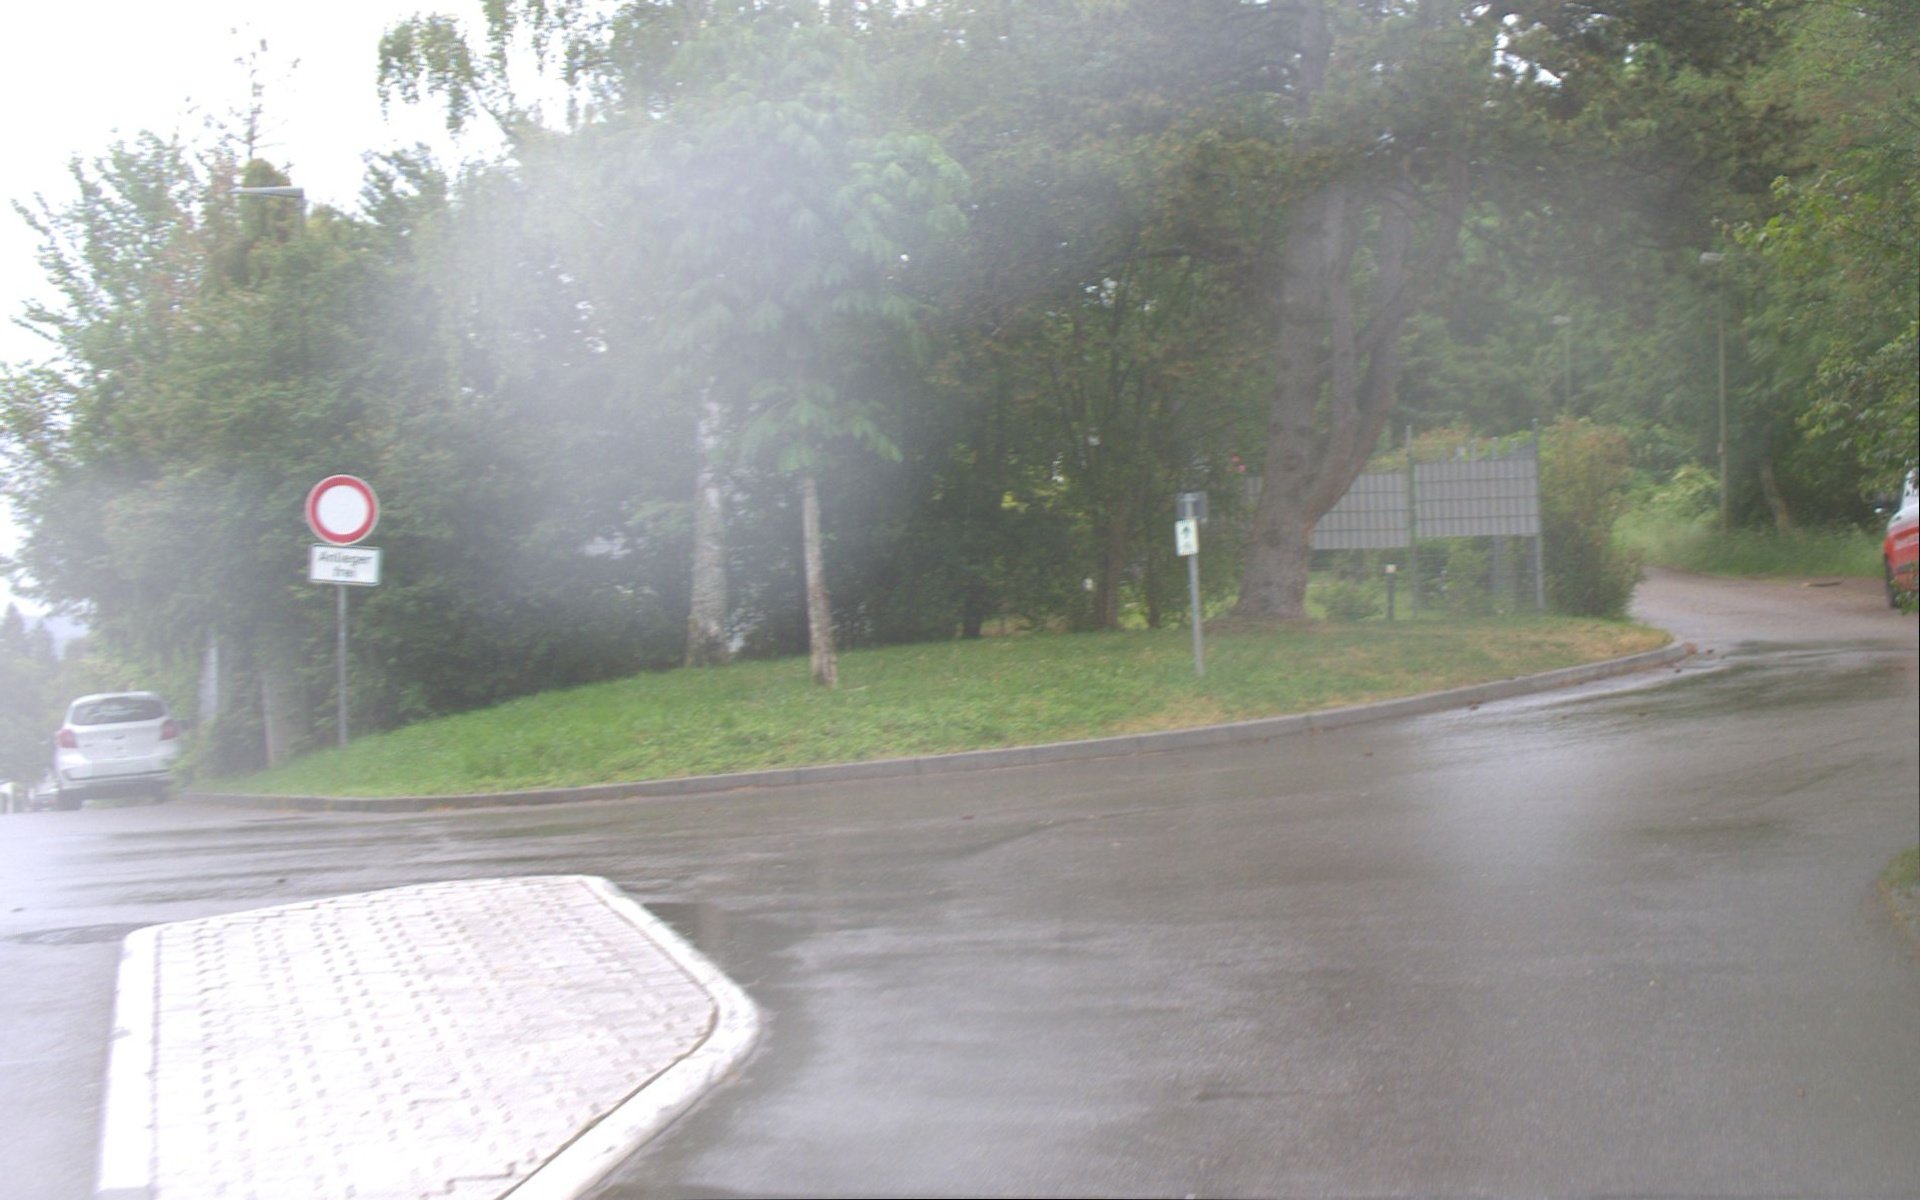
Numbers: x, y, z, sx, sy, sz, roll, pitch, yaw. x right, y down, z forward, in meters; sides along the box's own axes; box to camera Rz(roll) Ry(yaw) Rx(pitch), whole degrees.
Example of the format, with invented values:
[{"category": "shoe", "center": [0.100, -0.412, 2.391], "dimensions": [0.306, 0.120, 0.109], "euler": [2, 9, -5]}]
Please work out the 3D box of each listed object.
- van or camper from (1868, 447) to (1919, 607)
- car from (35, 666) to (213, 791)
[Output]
[{"category": "van or camper", "center": [12.357, -0.900, 41.172], "dimensions": [1.994, 1.875, 4.452], "euler": [-2, 0, 4]}, {"category": "car", "center": [-11.258, 1.761, 46.513], "dimensions": [1.993, 1.578, 4.000], "euler": [-1, -3, -9]}]
